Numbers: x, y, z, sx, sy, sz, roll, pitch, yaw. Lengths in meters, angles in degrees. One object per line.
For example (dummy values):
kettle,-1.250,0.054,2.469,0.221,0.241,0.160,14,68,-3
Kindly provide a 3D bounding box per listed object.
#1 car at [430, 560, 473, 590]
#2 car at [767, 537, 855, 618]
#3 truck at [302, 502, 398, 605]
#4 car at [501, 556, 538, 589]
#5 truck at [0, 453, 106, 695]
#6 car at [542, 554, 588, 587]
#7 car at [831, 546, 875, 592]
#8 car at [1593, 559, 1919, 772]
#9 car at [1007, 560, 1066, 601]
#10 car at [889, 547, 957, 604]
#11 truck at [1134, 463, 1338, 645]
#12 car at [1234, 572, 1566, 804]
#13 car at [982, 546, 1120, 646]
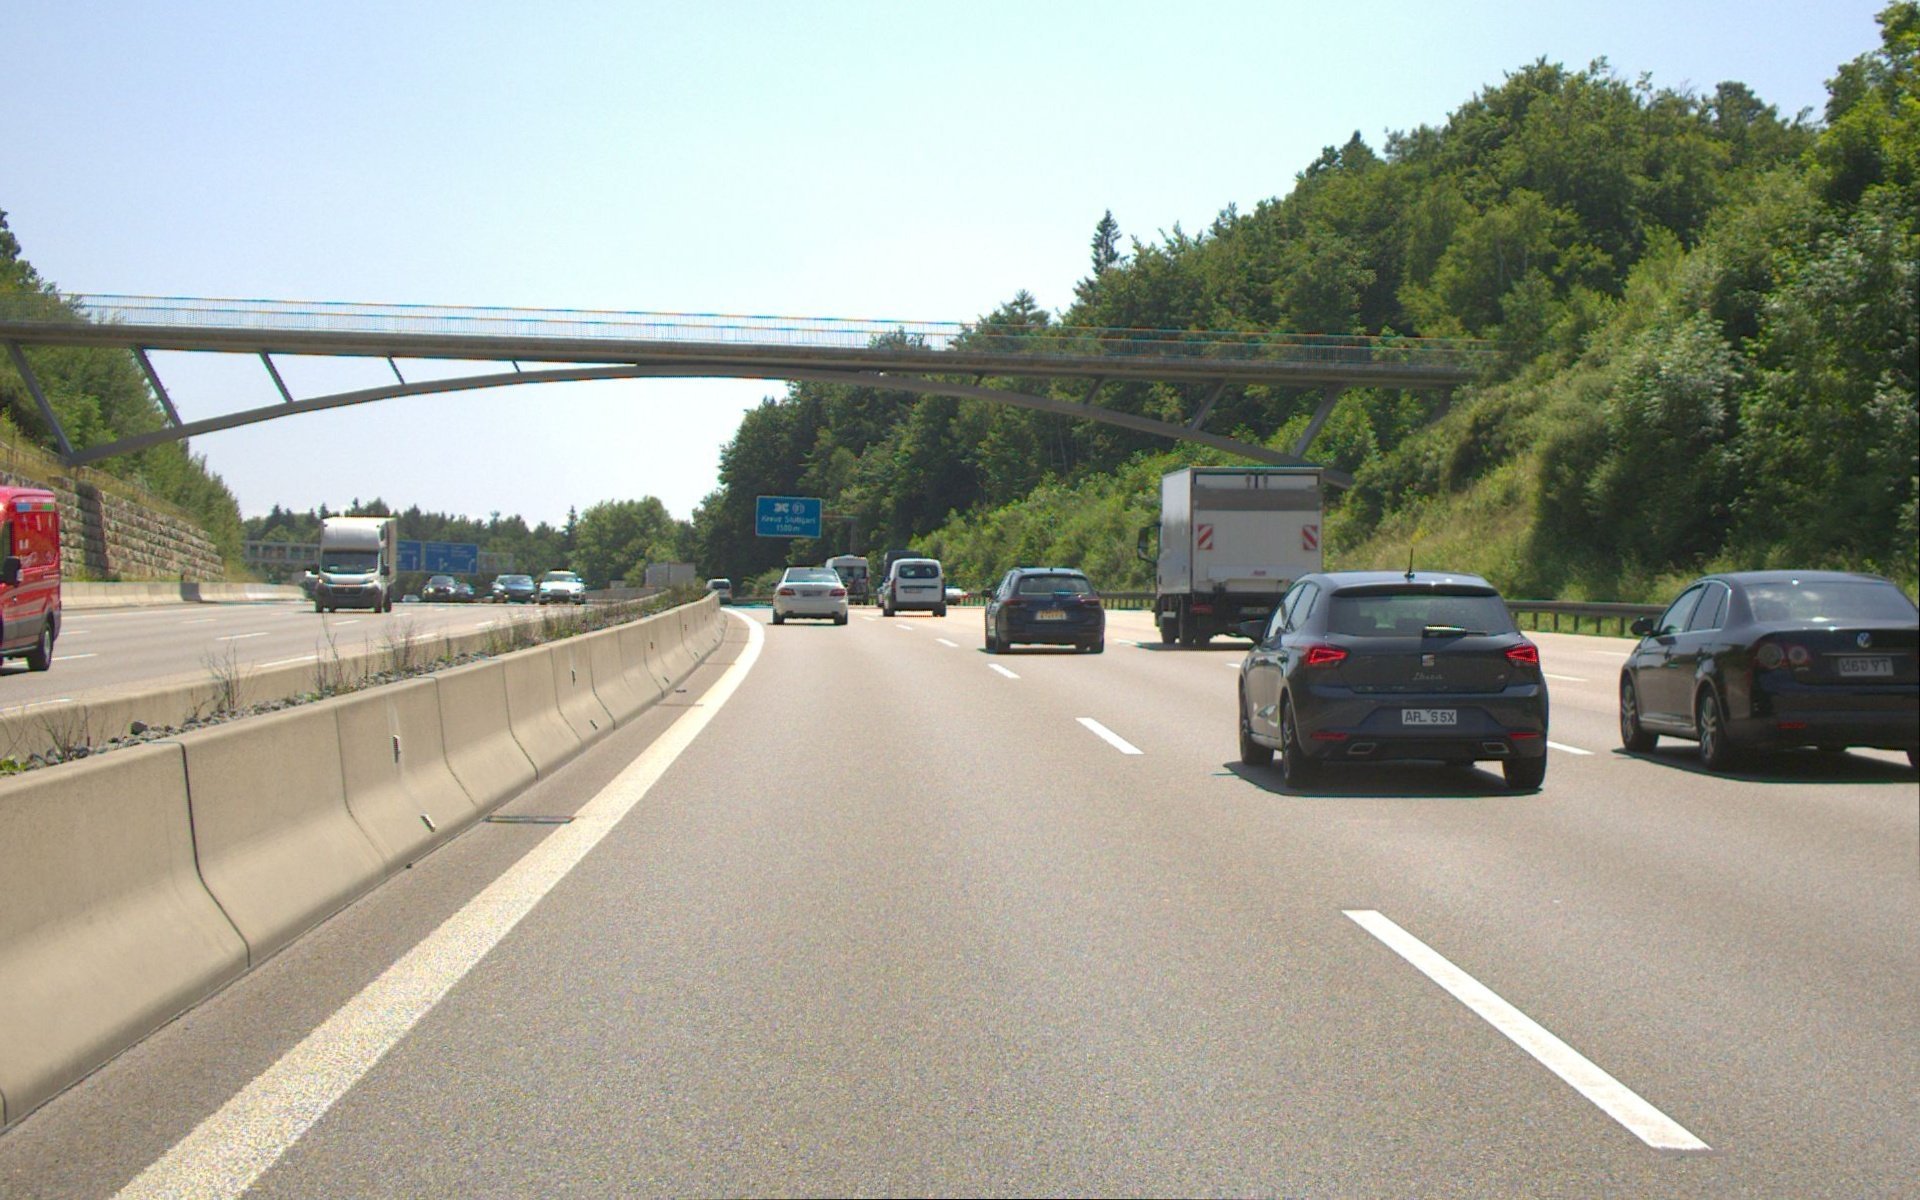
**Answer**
car,-27.957,-1.398,189.095,1.993,1.612,4.001,0,1,-3
car,-3.810,-0.548,87.480,2.012,1.839,4.000,1,-3,-5
truck,-19.604,-1.499,110.699,2.276,3.132,6.920,2,1,-4
car,-22.645,-1.442,176.765,1.653,1.545,4.001,2,2,-5
truck,-12.927,-0.419,44.746,2.110,2.966,7.016,1,2,-2
car,-18.296,-1.369,159.389,1.900,1.491,4.806,0,1,-4
car,-5.697,-1.612,181.901,2.265,2.363,4.702,0,0,-2
car,6.082,0.418,25.706,1.665,1.403,4.903,0,1,-1
car,3.101,-0.774,140.269,1.993,1.587,4.000,2,0,-4
car,-1.195,-0.786,108.583,2.103,1.738,4.688,0,1,-1
truck,5.022,-0.861,63.921,2.985,3.156,7.575,0,1,-1
car,2.940,0.542,23.753,1.708,1.428,4.000,1,1,-1
car,1.501,-0.106,58.615,1.993,1.628,4.760,0,1,-3
